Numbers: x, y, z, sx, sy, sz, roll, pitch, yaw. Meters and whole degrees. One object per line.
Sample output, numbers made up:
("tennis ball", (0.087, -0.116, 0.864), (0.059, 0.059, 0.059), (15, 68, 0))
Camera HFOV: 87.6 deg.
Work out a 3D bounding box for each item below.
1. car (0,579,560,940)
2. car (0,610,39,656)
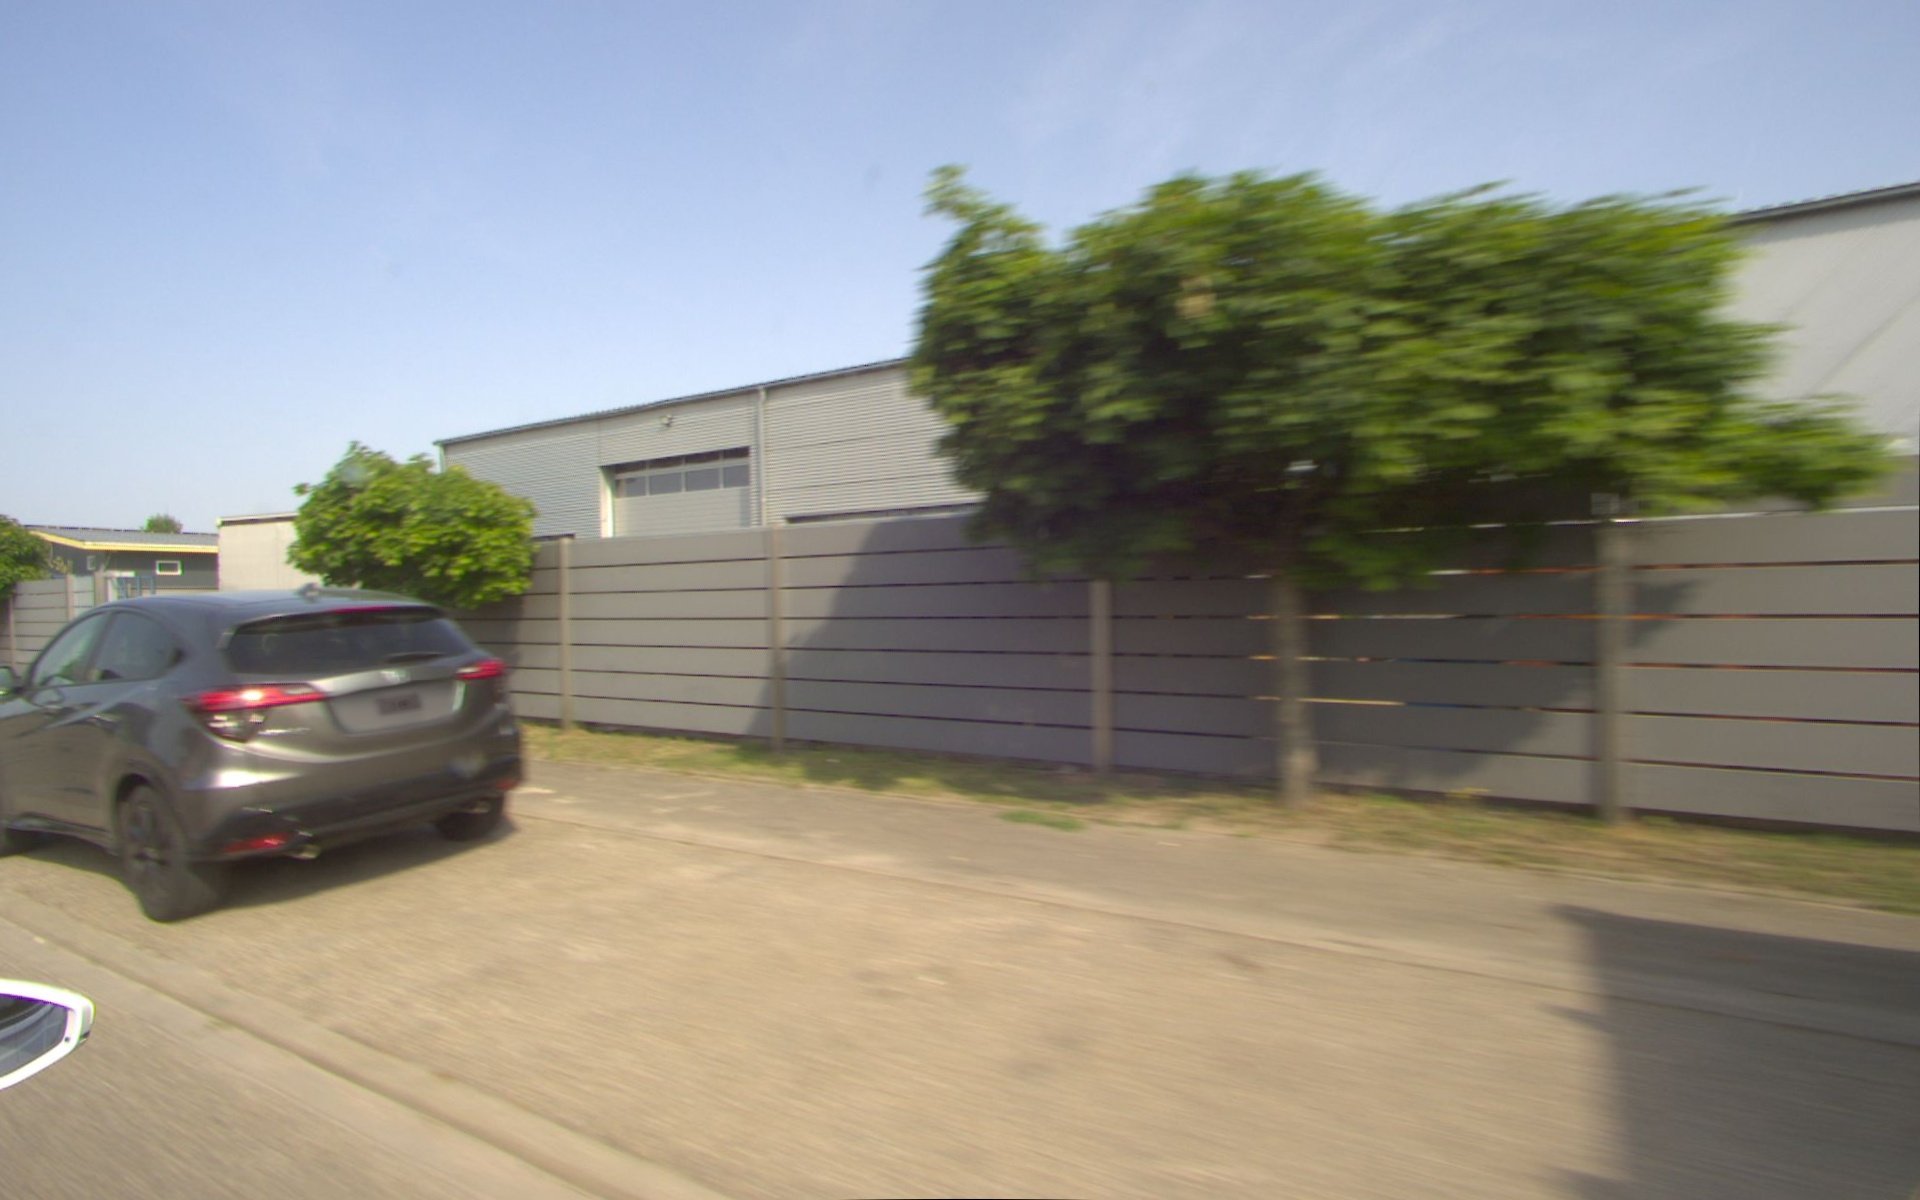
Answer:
("car", (-4.521, 0.707, 6.190), (3.942, 1.582, 1.790), (-1, 1, 32))
("car", (-28.384, 0.985, 28.421), (1.376, 1.283, 3.127), (0, 1, 40))
